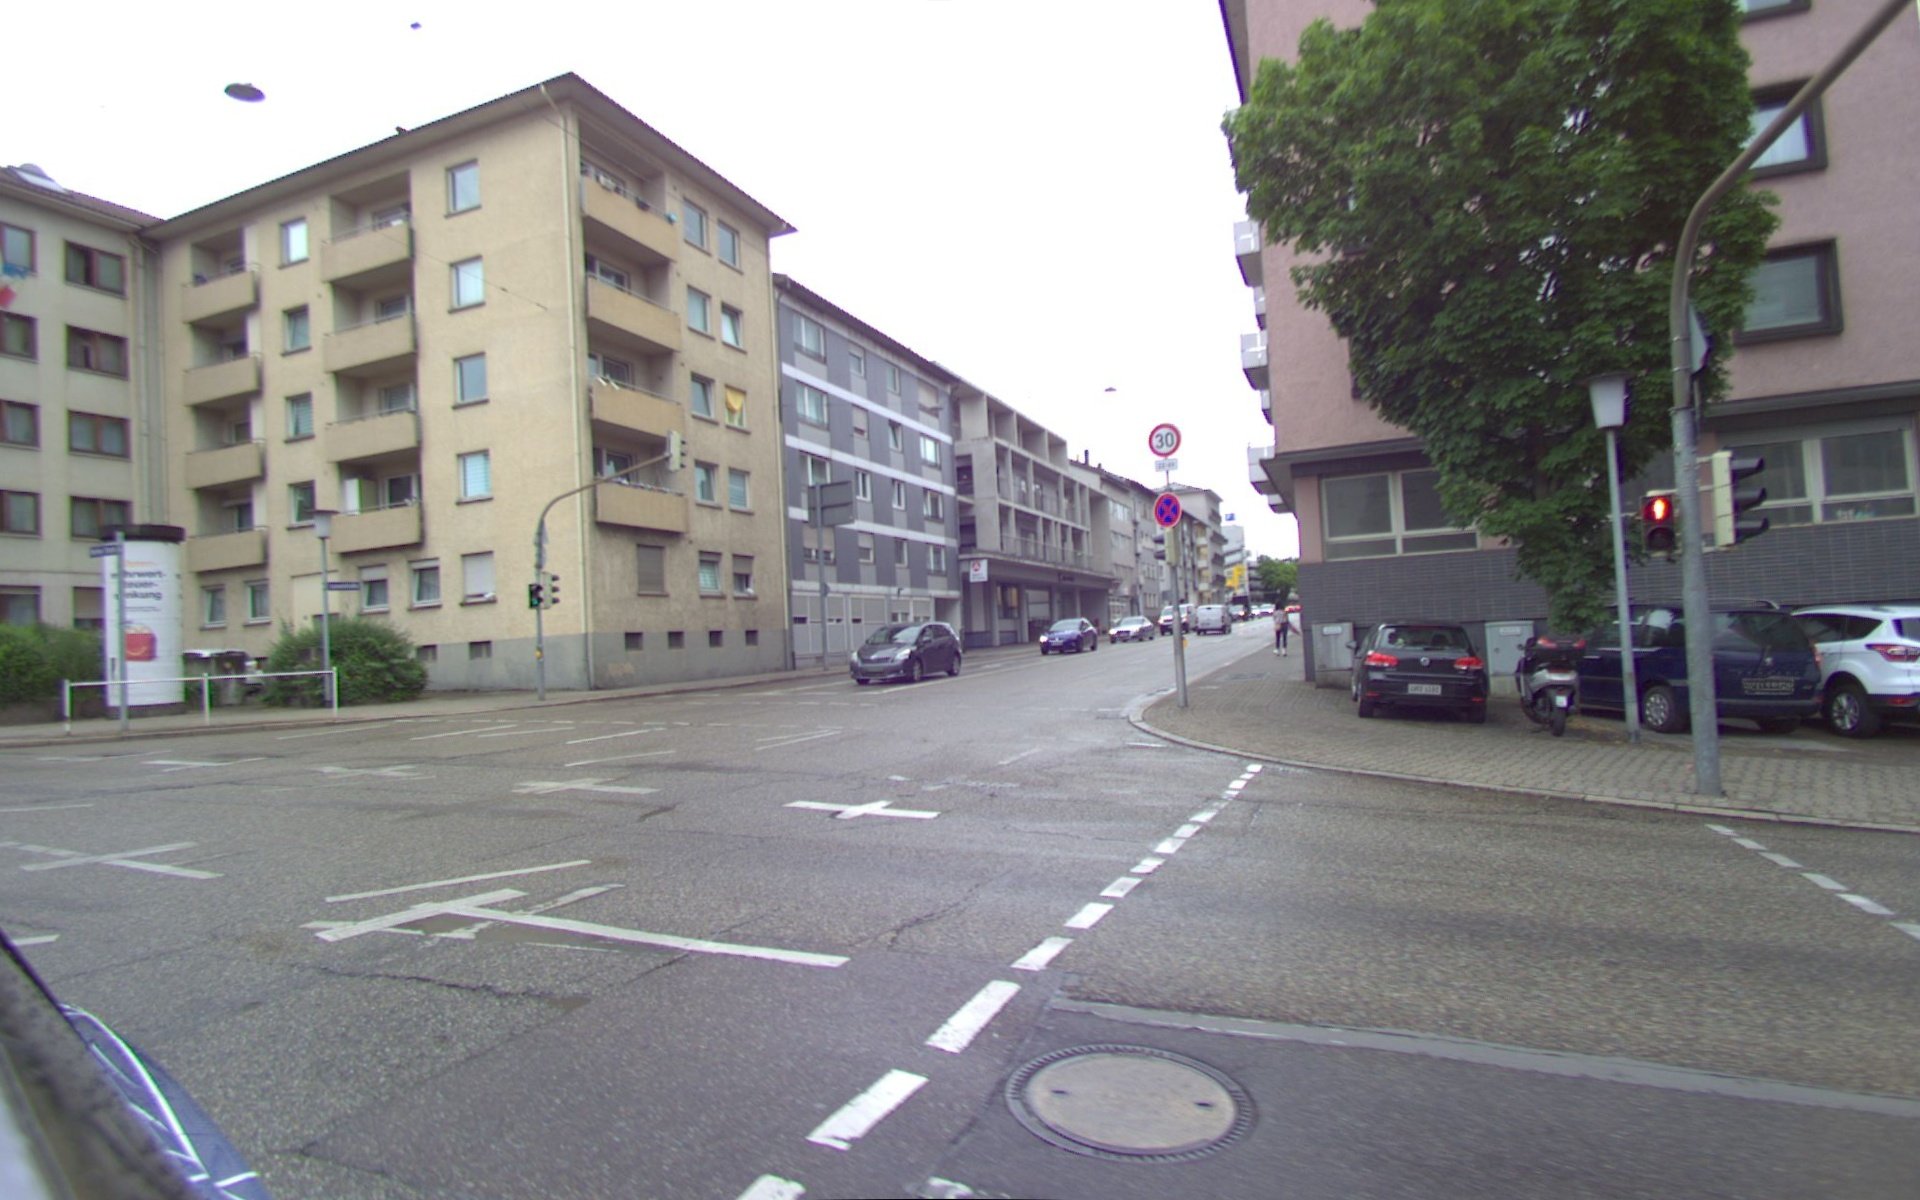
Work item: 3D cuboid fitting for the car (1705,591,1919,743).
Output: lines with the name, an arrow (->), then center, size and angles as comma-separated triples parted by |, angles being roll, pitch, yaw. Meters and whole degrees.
car -> 12.449, 0.855, 13.852 | 1.838, 1.807, 3.992 | 1, -1, 6

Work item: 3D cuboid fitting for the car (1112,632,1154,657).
car -> 9.567, 2.433, 55.801 | 1.538, 1.076, 3.071 | -5, -1, 24

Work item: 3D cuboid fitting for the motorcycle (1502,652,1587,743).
motorcycle -> 7.741, 1.257, 13.472 | 0.449, 1.040, 1.787 | -2, -1, 14

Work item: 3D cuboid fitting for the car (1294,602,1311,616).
car -> 40.141, 1.050, 118.472 | 1.721, 1.472, 4.044 | -1, 0, 21

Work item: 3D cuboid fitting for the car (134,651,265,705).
car -> -23.355, 2.367, 31.083 | 3.302, 1.485, 1.754 | -2, 0, 22

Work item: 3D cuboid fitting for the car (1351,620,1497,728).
car -> 7.169, 1.058, 15.978 | 1.725, 1.370, 3.973 | -1, 0, 20

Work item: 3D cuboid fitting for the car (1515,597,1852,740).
car -> 10.181, 0.872, 14.742 | 1.748, 1.741, 4.346 | 1, -1, 0

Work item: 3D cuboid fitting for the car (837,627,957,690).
car -> -1.632, 1.551, 27.770 | 1.721, 1.492, 4.043 | -4, -3, 21

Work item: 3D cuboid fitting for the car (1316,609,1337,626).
car -> 36.374, 1.763, 100.455 | 1.695, 1.466, 3.781 | -5, -1, 19

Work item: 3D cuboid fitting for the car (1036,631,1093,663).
car -> 4.479, 1.964, 42.853 | 1.679, 1.157, 3.978 | -2, 0, 16

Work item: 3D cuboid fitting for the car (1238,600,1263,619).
car -> 30.207, 0.978, 105.205 | 1.842, 1.674, 3.650 | -5, -1, 24

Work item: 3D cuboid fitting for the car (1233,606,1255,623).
car -> 31.831, 1.610, 113.300 | 1.713, 1.674, 3.650 | -5, -1, 24

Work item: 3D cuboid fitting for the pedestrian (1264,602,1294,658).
pedestrian -> 9.411, 0.890, 29.847 | 0.521, 1.569, 0.452 | -8, 2, -23

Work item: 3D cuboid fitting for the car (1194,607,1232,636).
car -> 15.789, 1.343, 63.084 | 1.799, 1.728, 4.514 | -1, -1, 21

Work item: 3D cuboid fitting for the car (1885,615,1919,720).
car -> 14.485, 0.964, 13.032 | 1.839, 1.507, 3.990 | 1, -1, 8

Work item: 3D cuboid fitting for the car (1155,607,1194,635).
car -> 14.340, 1.377, 67.553 | 1.713, 1.674, 3.650 | -5, -1, 24
